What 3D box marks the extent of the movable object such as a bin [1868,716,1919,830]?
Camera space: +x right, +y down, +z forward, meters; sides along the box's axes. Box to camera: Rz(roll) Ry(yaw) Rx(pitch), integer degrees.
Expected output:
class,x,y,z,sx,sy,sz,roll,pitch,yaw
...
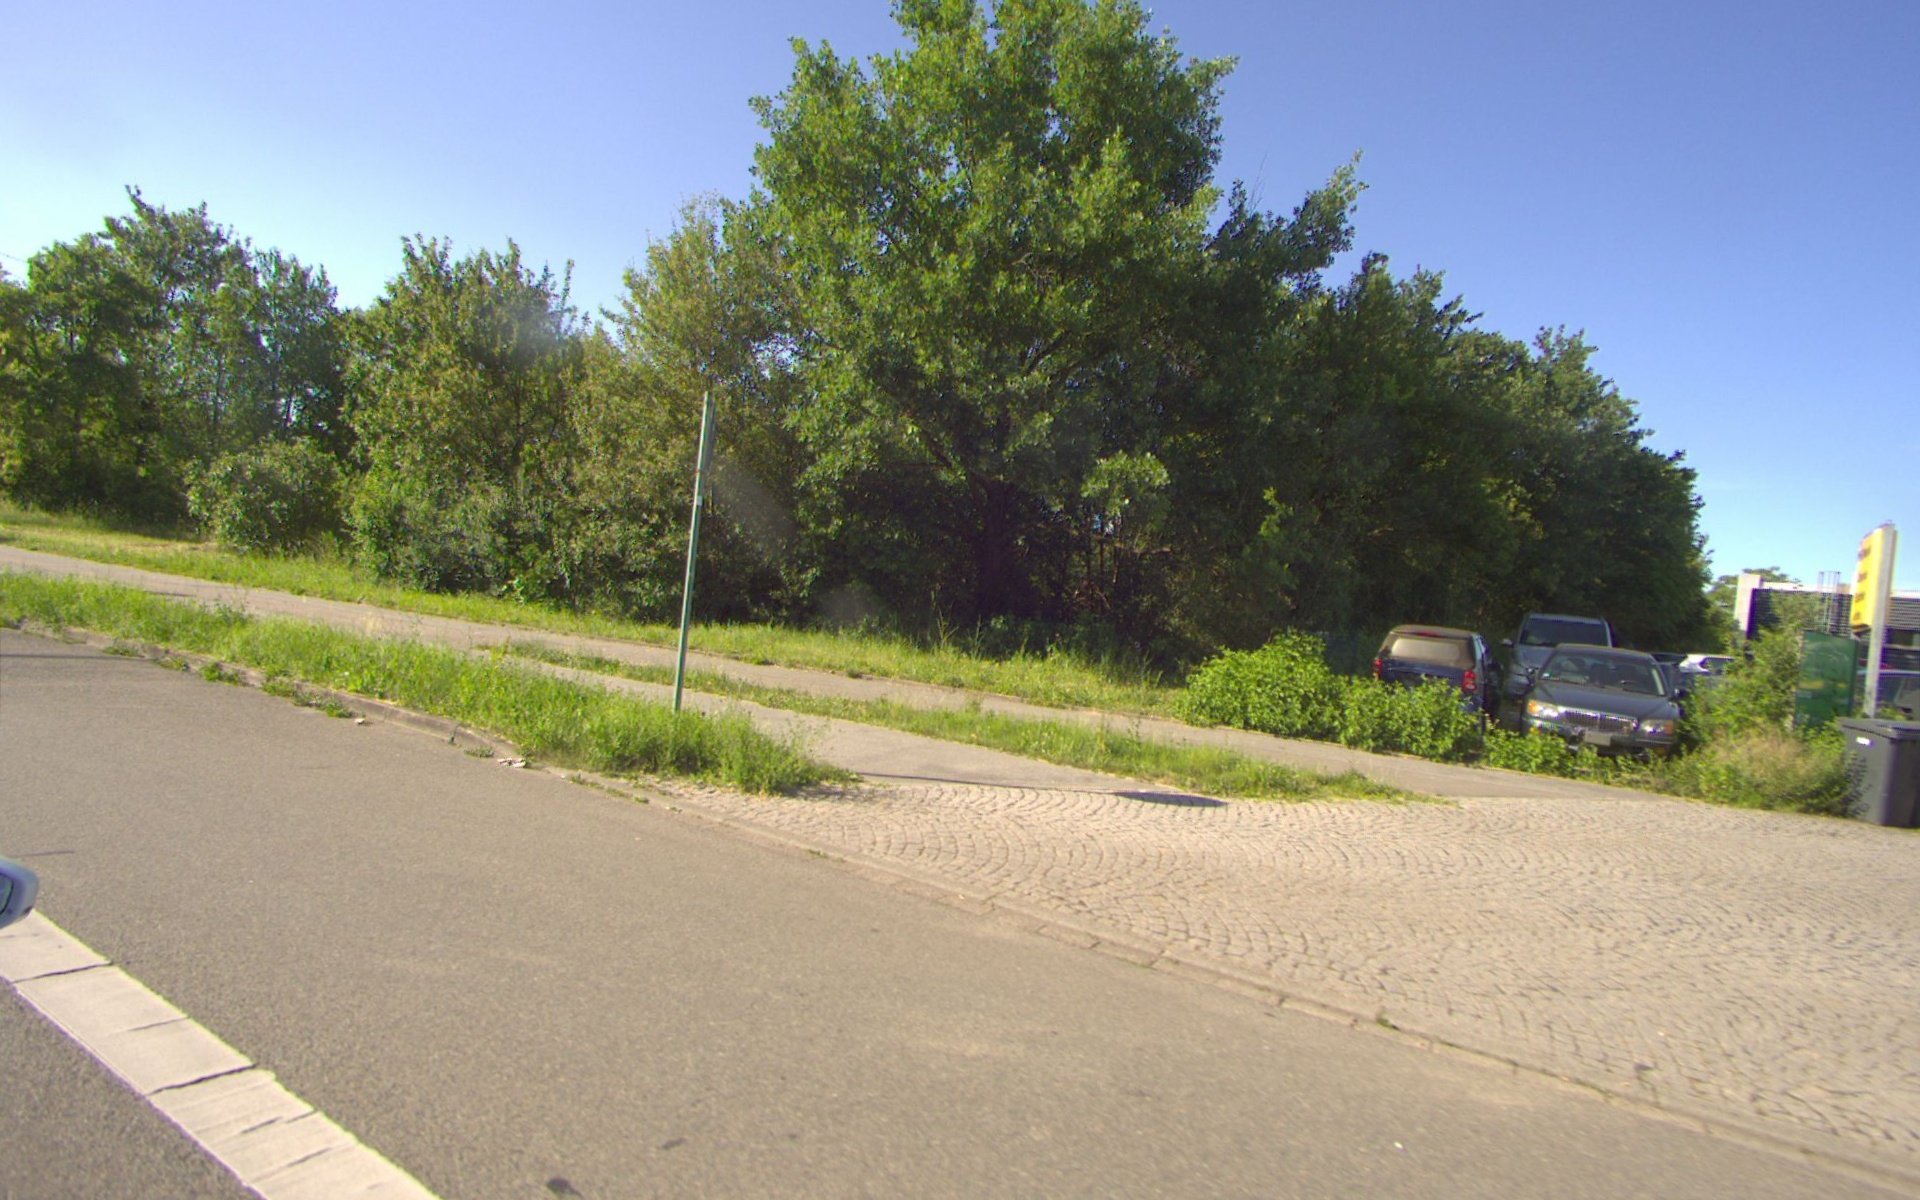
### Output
class,x,y,z,sx,sy,sz,roll,pitch,yaw
movable object such as a bin,10.247,1.852,10.709,0.501,1.135,0.581,6,0,-10

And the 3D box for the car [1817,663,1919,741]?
class,x,y,z,sx,sy,sz,roll,pitch,yaw
car,24.872,2.771,26.939,1.966,1.803,3.997,6,-2,29

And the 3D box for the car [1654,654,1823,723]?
class,x,y,z,sx,sy,sz,roll,pitch,yaw
car,22.656,2.567,29.451,3.644,1.481,1.611,6,-2,32

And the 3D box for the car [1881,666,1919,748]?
class,x,y,z,sx,sy,sz,roll,pitch,yaw
car,22.274,2.474,22.075,1.966,1.803,3.997,6,-2,29

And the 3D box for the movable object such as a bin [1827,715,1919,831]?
class,x,y,z,sx,sy,sz,roll,pitch,yaw
movable object such as a bin,9.708,1.810,10.601,0.501,1.088,0.581,7,0,-10

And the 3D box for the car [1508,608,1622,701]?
class,x,y,z,sx,sy,sz,roll,pitch,yaw
car,12.413,1.065,20.558,1.706,1.551,4.036,6,2,33

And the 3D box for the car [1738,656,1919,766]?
class,x,y,z,sx,sy,sz,roll,pitch,yaw
car,15.325,1.918,16.427,3.851,1.481,1.727,6,-2,32

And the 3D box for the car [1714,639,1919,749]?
class,x,y,z,sx,sy,sz,roll,pitch,yaw
car,16.557,1.784,18.475,4.067,1.626,1.716,6,-2,32

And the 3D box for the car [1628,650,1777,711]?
class,x,y,z,sx,sy,sz,roll,pitch,yaw
car,23.973,2.592,32.661,3.644,1.481,1.611,6,-2,32

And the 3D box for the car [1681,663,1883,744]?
class,x,y,z,sx,sy,sz,roll,pitch,yaw
car,20.526,2.567,25.324,3.644,1.481,1.611,6,-2,32

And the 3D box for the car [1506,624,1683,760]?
class,x,y,z,sx,sy,sz,roll,pitch,yaw
car,8.588,1.248,13.659,1.700,1.434,3.288,6,-2,33

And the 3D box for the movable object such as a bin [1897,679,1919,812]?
class,x,y,z,sx,sy,sz,roll,pitch,yaw
movable object such as a bin,11.174,1.670,10.789,1.240,1.446,0.987,7,0,-11

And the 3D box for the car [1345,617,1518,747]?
class,x,y,z,sx,sy,sz,roll,pitch,yaw
car,6.960,1.203,14.672,1.743,1.503,3.288,6,-2,33
